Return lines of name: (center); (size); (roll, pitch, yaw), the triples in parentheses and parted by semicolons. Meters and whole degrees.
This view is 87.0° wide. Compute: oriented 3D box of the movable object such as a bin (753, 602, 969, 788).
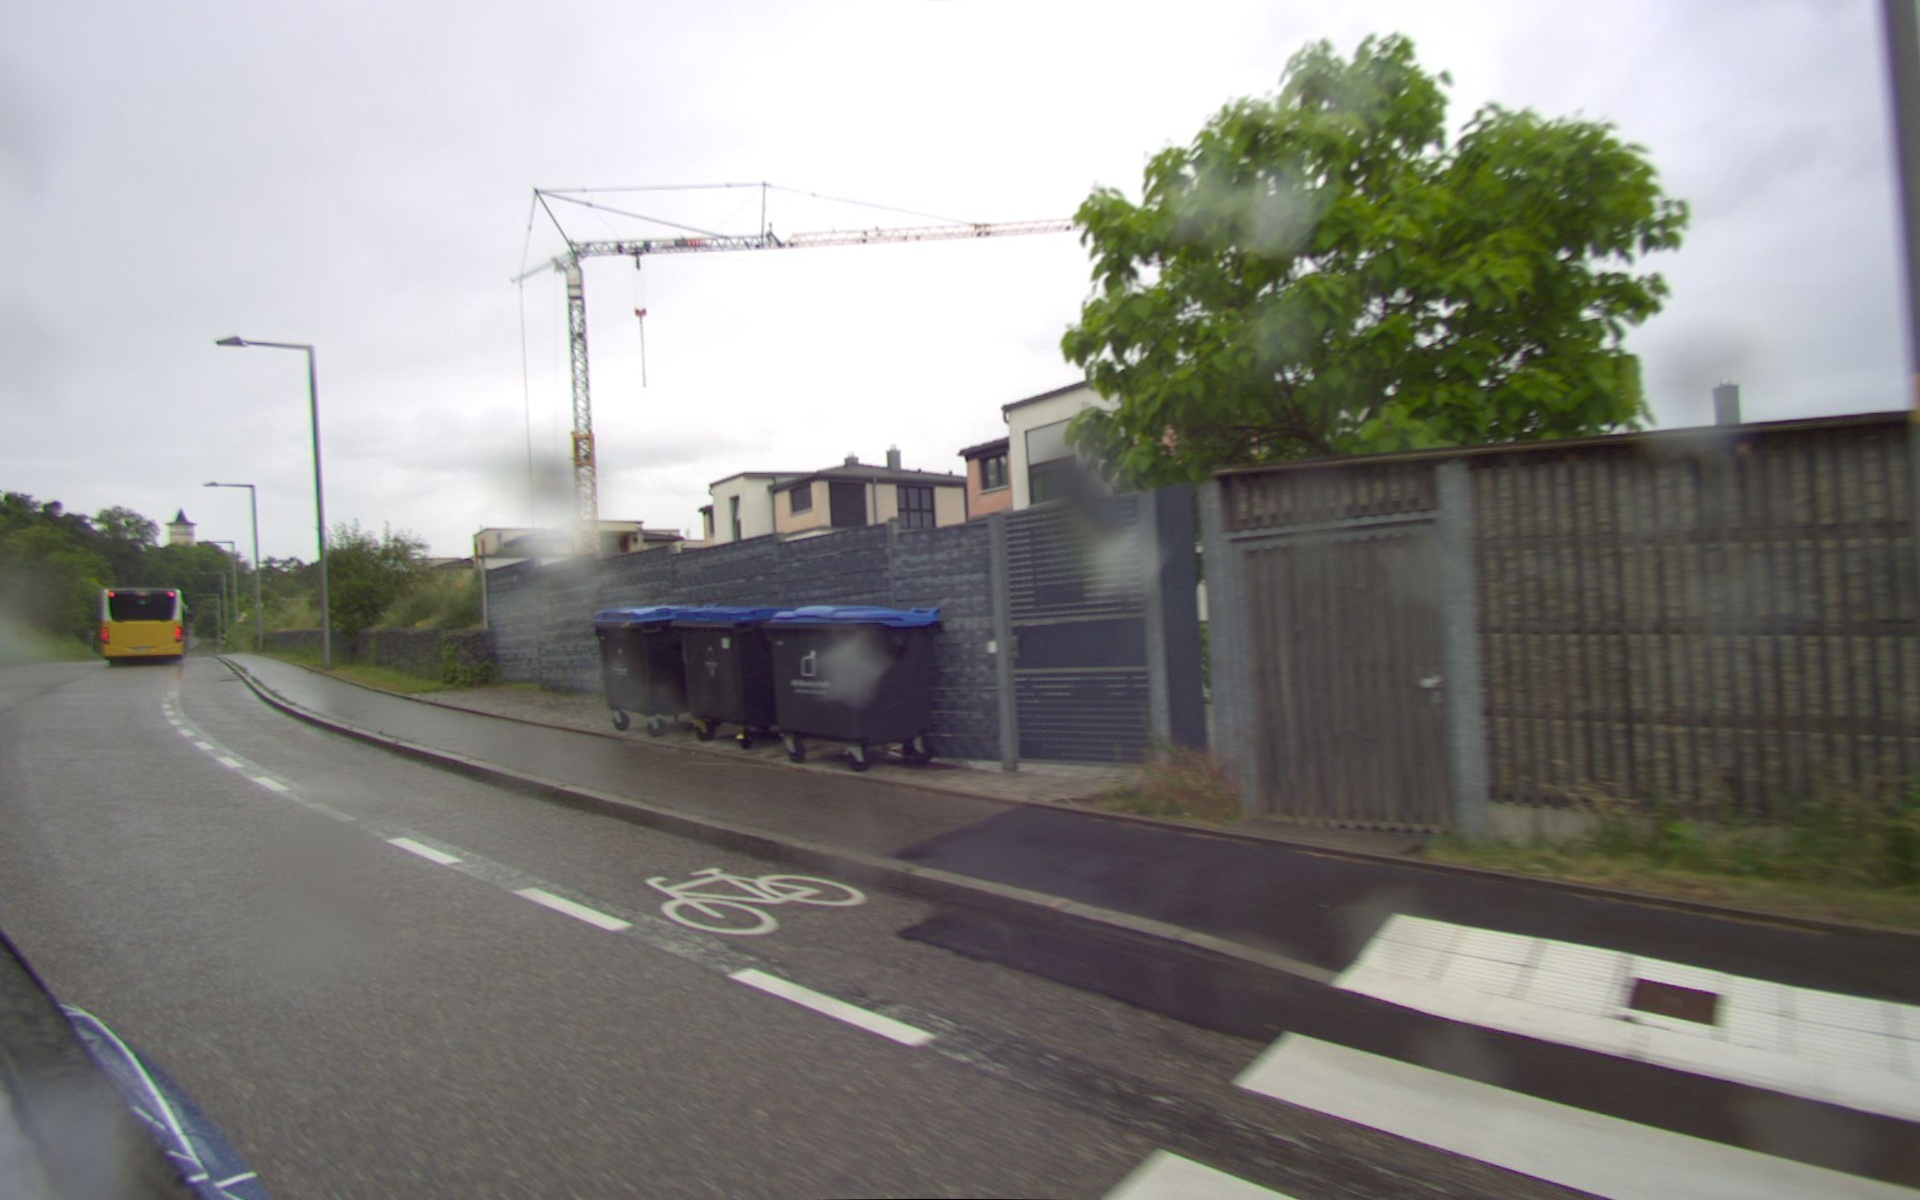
movable object such as a bin: (-0.843, 0.744, 8.562); (1.362, 1.332, 1.119); (-3, 2, 43)

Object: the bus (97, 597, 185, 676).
bus: (-34.929, 1.518, 43.369); (2.605, 3.055, 7.682); (-1, -1, -37)

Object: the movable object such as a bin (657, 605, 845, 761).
movable object such as a bin: (-2.046, 0.765, 9.879); (1.398, 1.311, 1.119); (-3, 2, 43)

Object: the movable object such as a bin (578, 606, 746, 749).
movable object such as a bin: (-3.234, 0.800, 10.962); (1.398, 1.349, 1.119); (-3, 2, 43)
